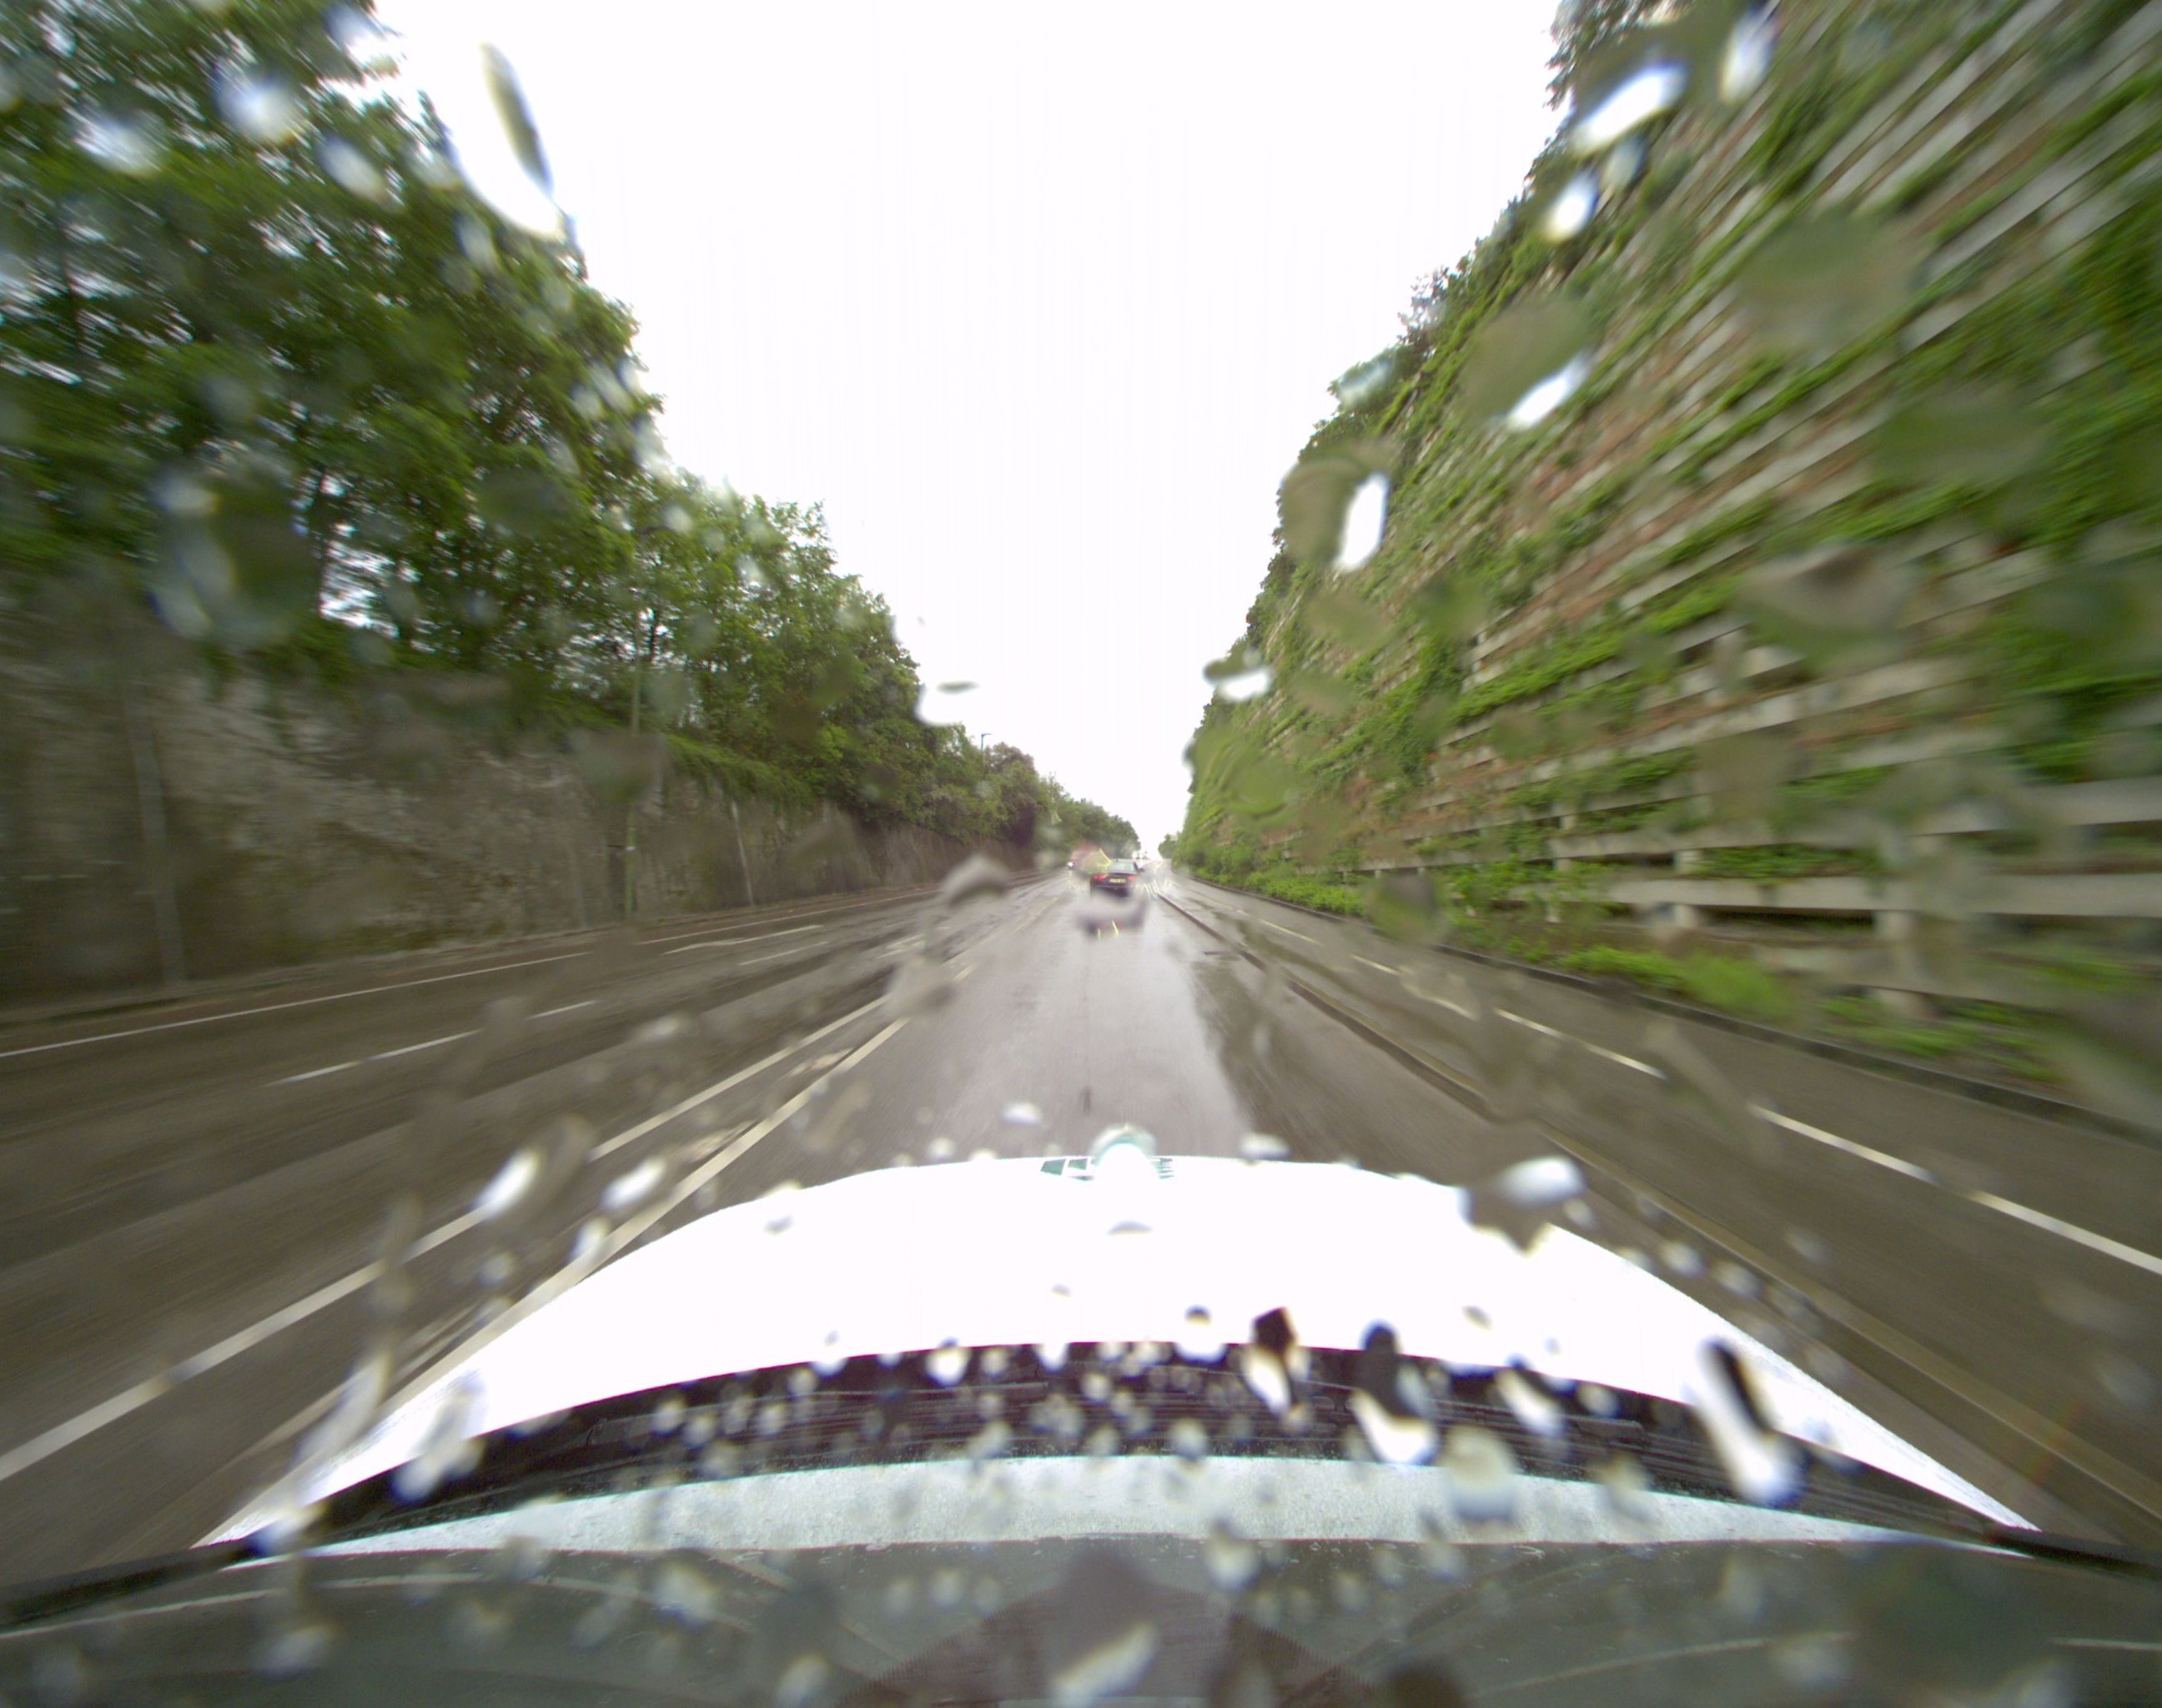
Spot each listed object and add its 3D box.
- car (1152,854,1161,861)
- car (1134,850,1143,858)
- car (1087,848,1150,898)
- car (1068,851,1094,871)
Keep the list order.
[{"bbox_3d":[18.632,0.877,200.806,1.812,1.615,4.103,0,0,9],"label":"car"},{"bbox_3d":[11.898,-0.003,167.875,1.856,1.449,4.382,-3,-2,5],"label":"car"},{"bbox_3d":[1.322,0.636,27.699,1.884,1.492,4.211,-3,-1,4],"label":"car"},{"bbox_3d":[-0.002,0.619,69.047,1.723,1.618,4.007,-1,0,7],"label":"car"}]
